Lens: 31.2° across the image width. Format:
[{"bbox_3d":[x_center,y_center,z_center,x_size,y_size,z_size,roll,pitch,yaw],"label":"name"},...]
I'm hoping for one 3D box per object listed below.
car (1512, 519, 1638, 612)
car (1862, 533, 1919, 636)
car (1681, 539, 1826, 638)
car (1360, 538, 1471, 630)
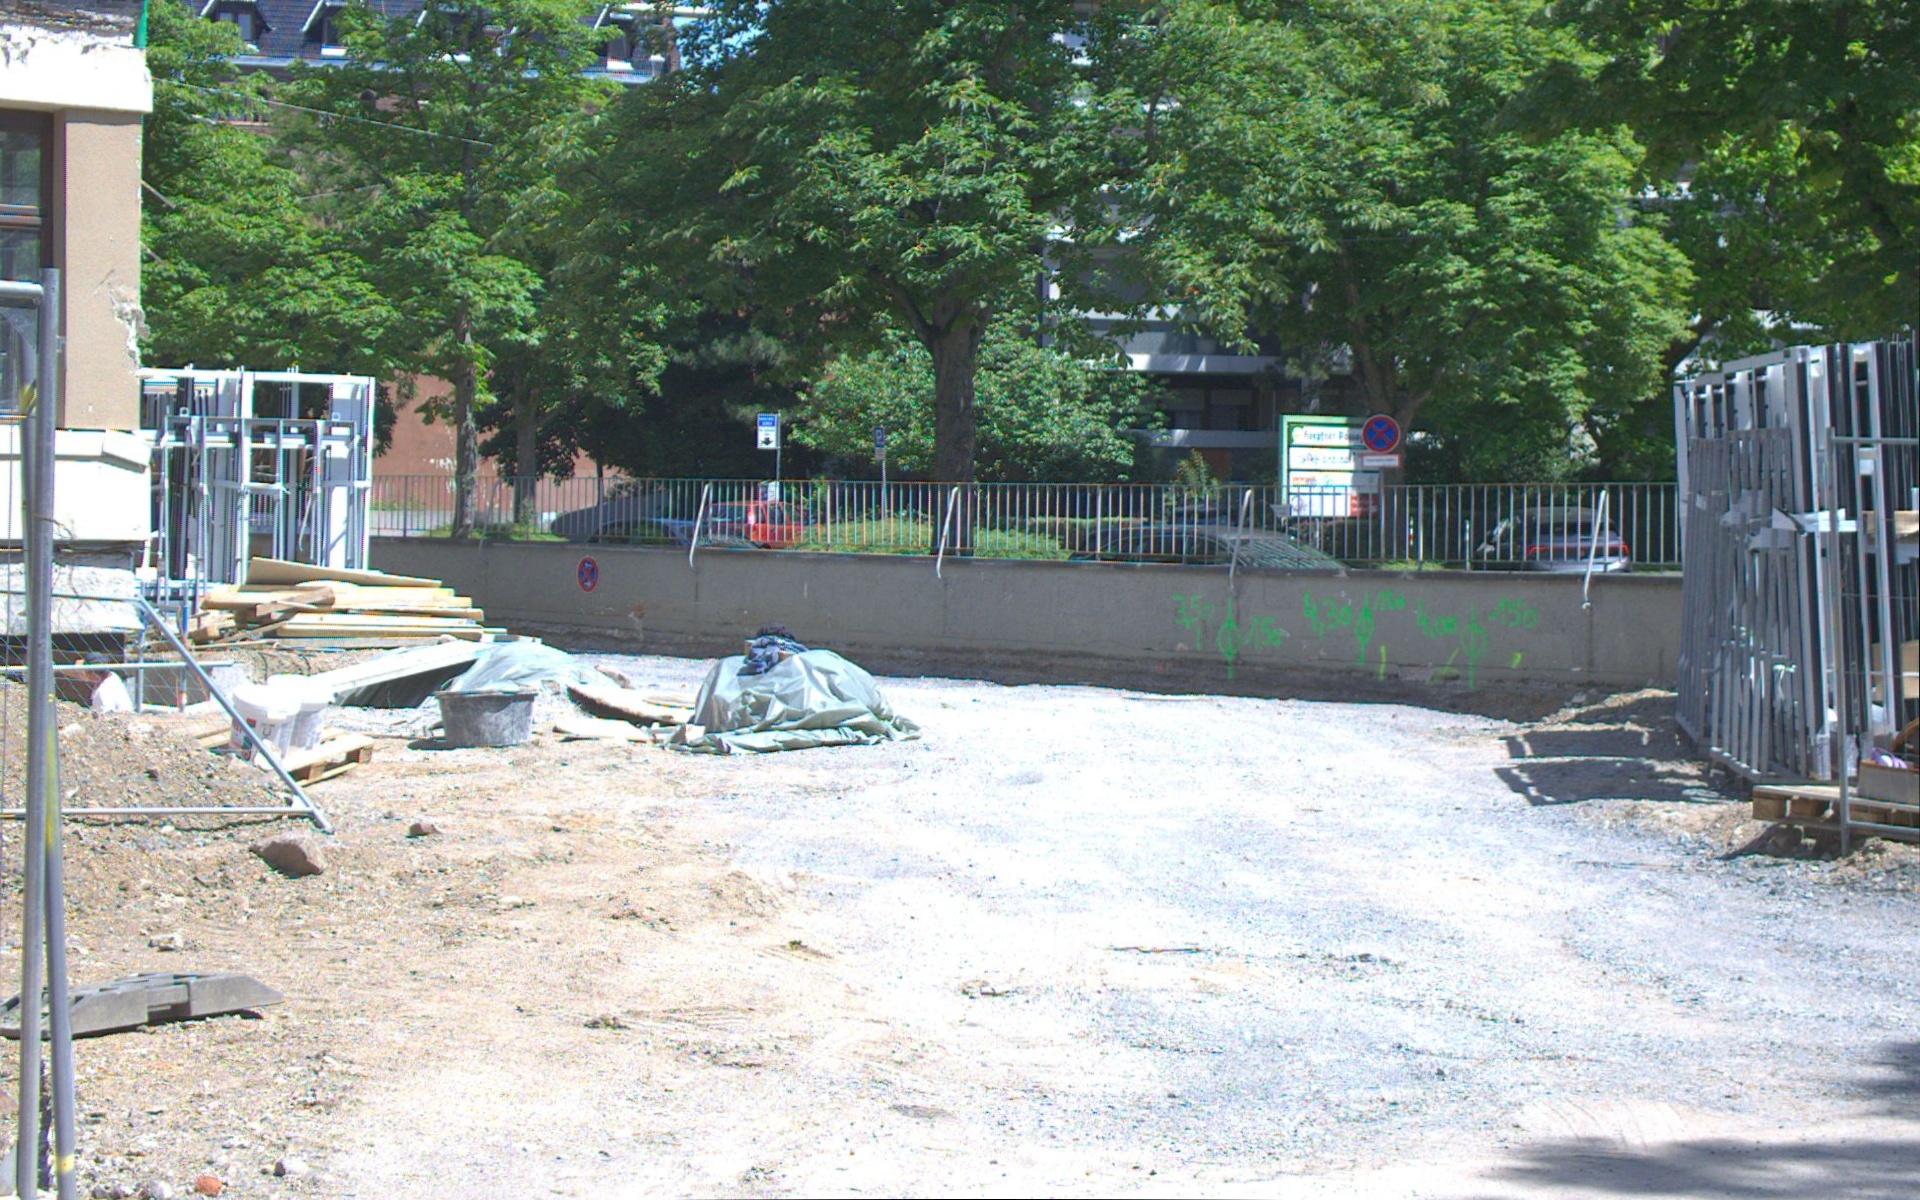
[{"bbox_3d":[9.517,-0.554,53.396,1.633,1.382,3.677,1,1,6],"label":"car"},{"bbox_3d":[13.753,-0.240,48.082,1.633,1.382,3.677,1,1,6],"label":"car"},{"bbox_3d":[11.674,-0.200,50.779,1.633,1.382,3.677,1,1,6],"label":"car"},{"bbox_3d":[7.202,-0.279,54.605,1.633,1.382,3.677,1,1,6],"label":"car"}]
